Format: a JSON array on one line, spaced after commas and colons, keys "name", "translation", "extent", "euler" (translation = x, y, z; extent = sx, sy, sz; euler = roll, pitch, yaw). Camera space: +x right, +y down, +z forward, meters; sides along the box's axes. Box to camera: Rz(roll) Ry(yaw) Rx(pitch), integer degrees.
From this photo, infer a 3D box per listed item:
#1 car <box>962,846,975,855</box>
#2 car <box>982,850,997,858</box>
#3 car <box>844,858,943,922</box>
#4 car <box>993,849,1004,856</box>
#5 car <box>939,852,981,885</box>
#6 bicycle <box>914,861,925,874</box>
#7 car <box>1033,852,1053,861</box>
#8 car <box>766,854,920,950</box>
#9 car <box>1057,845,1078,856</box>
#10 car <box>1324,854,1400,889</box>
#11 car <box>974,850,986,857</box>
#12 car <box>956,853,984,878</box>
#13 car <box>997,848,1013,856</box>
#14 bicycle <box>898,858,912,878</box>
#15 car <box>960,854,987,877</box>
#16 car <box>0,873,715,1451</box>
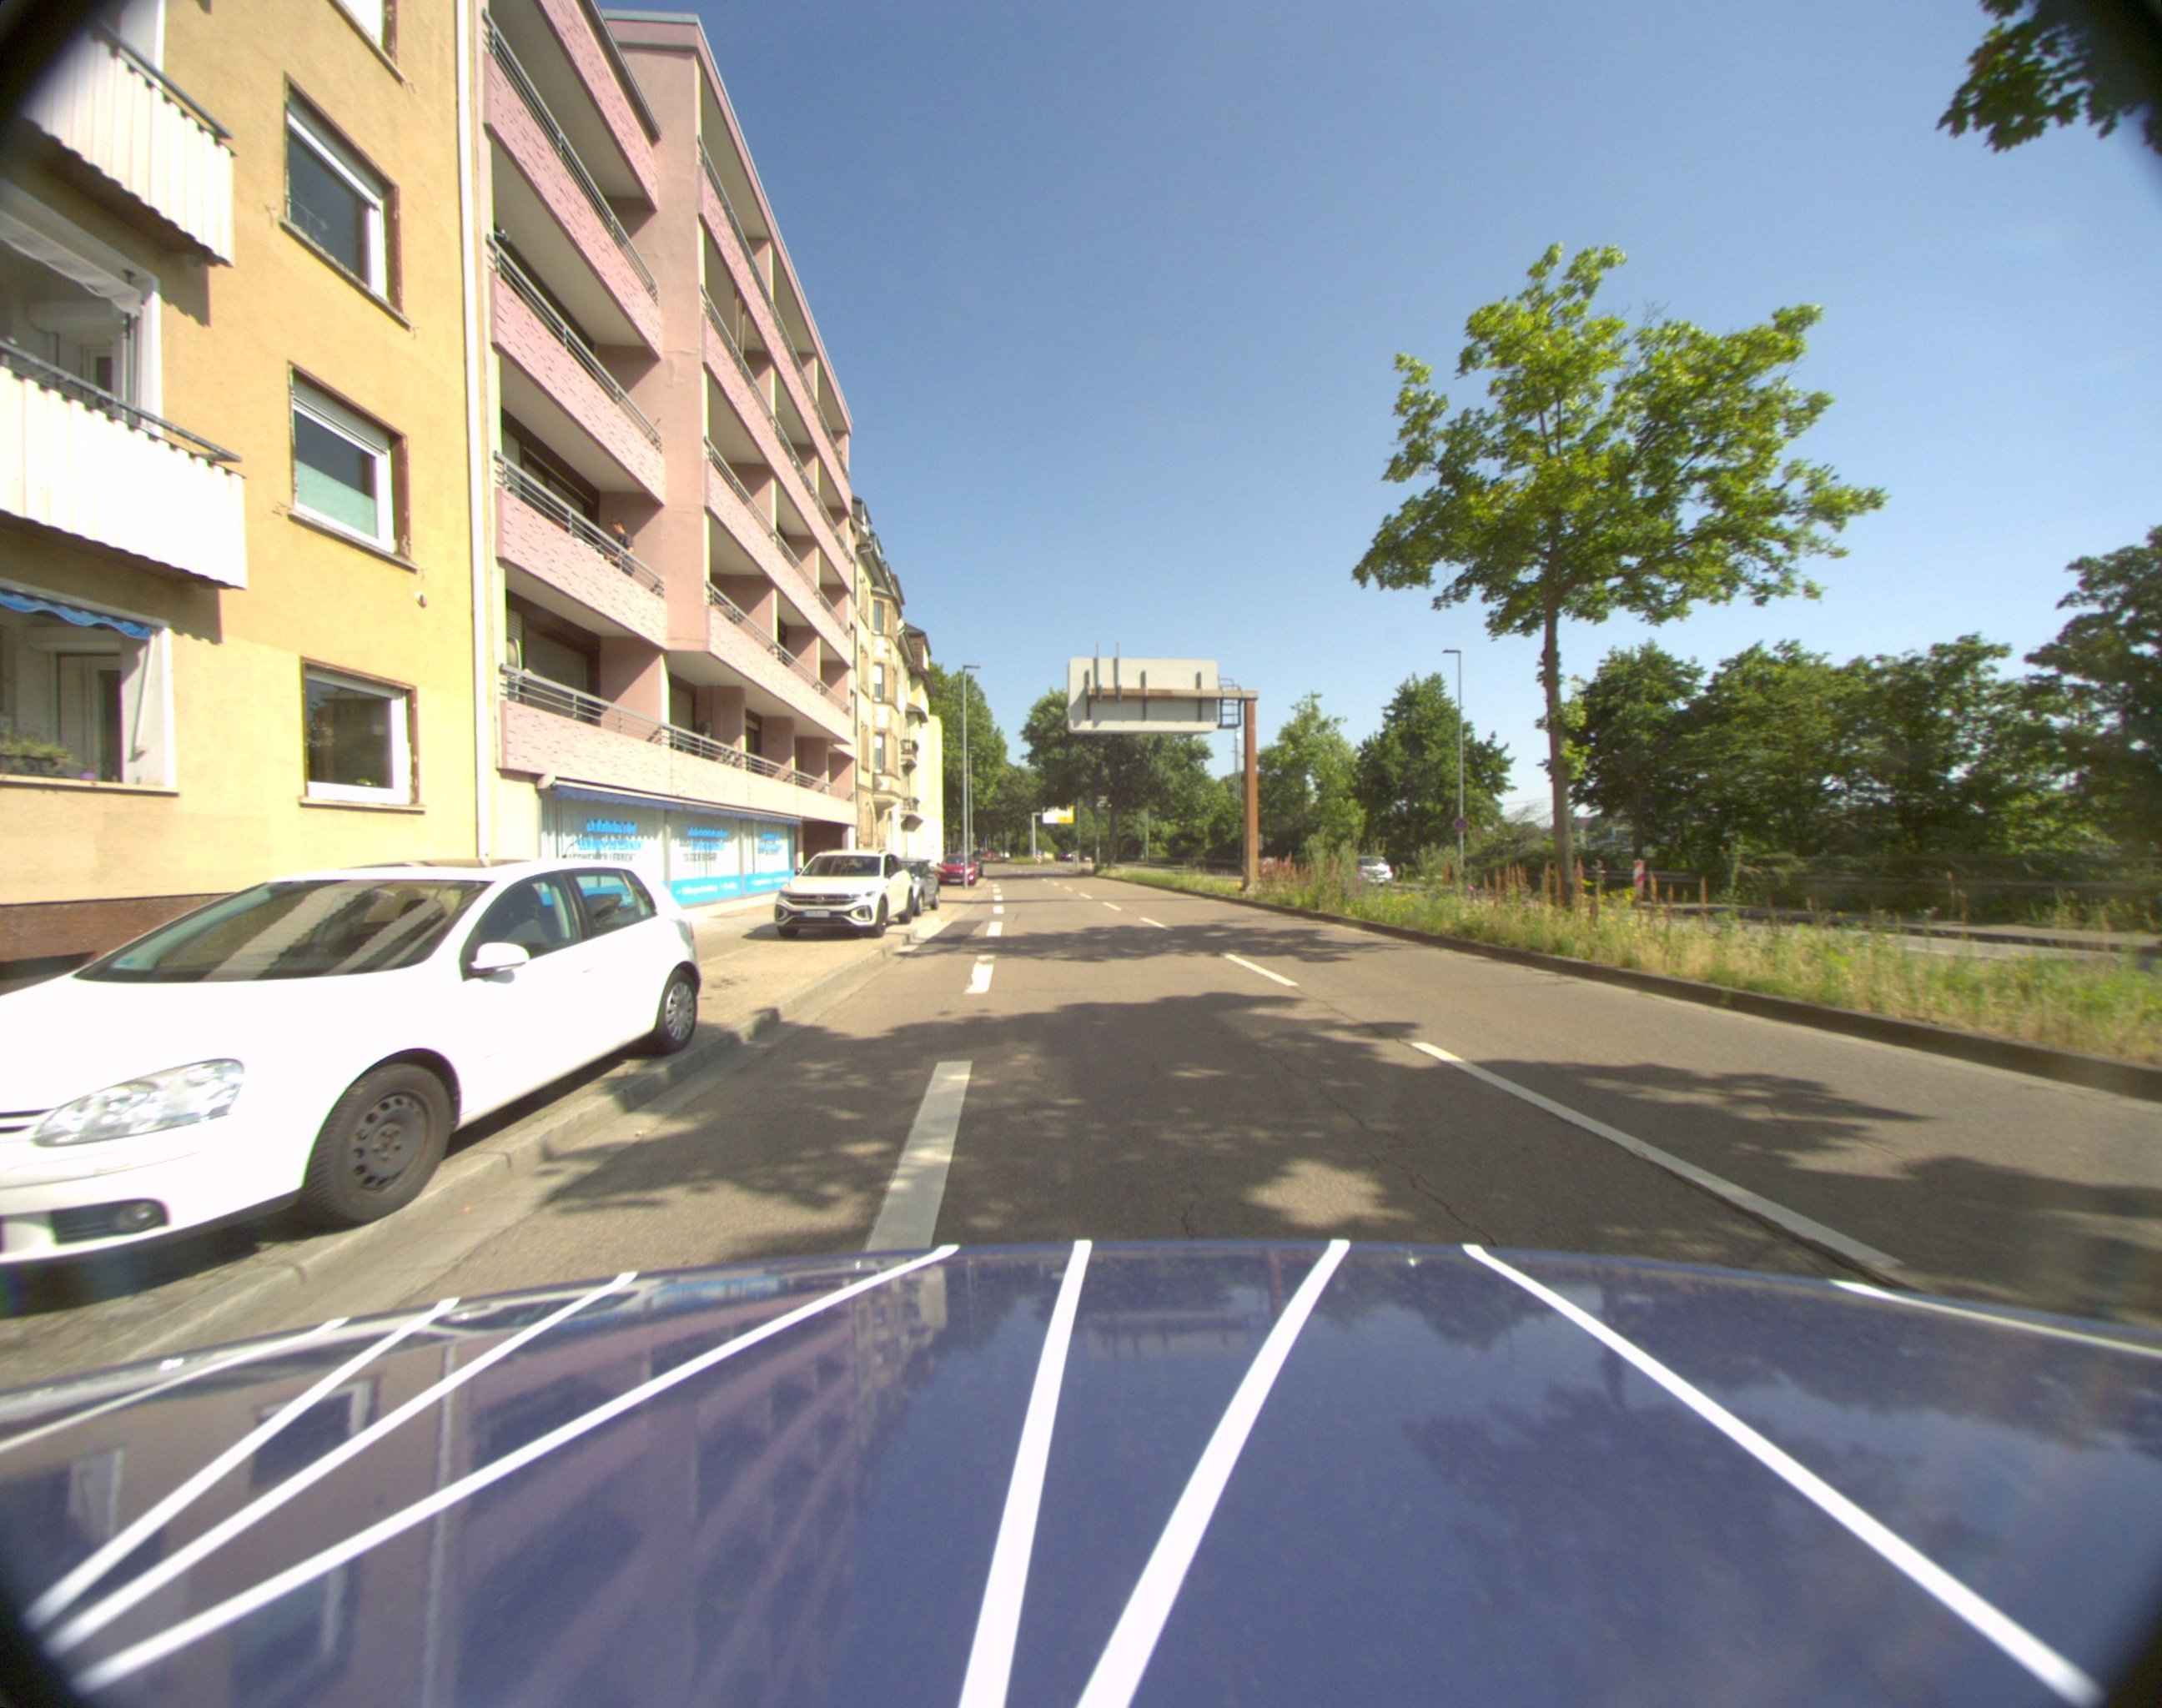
[{"name": "car", "translation": [-24.010, -0.717, 161.719], "extent": [2.002, 1.880, 3.992], "euler": [0, 1, -21]}, {"name": "car", "translation": [-18.180, -0.053, 150.322], "extent": [1.805, 1.511, 3.956], "euler": [1, 1, -24]}, {"name": "car", "translation": [-4.614, 0.844, 19.122], "extent": [1.683, 1.400, 3.430], "euler": [2, 0, -2]}, {"name": "car", "translation": [-17.416, -0.335, 160.677], "extent": [1.682, 1.461, 3.571], "euler": [-1, 0, -17]}, {"name": "car", "translation": [-5.858, 0.676, 37.149], "extent": [1.790, 1.473, 3.997], "euler": [1, 0, -6]}, {"name": "bicycle", "translation": [-11.670, 0.959, 54.856], "extent": [0.609, 0.940, 2.112], "euler": [-1, 0, -8]}, {"name": "car", "translation": [-6.651, 0.421, 132.670], "extent": [2.002, 1.403, 4.606], "euler": [1, 0, -21]}, {"name": "car", "translation": [-4.361, 0.795, 14.620], "extent": [1.741, 1.532, 4.352], "euler": [0, 0, -2]}, {"name": "car", "translation": [-2.102, -0.568, 116.013], "extent": [2.001, 1.519, 4.691], "euler": [2, 0, -15]}, {"name": "car", "translation": [12.346, 0.717, 33.642], "extent": [1.650, 1.408, 3.968], "euler": [-1, 0, -4]}, {"name": "car", "translation": [-22.460, -0.093, 168.319], "extent": [1.925, 1.654, 4.305], "euler": [-1, 1, -18]}, {"name": "car", "translation": [-6.947, 0.699, 47.857], "extent": [1.647, 1.492, 4.007], "euler": [1, 0, -8]}, {"name": "car", "translation": [-14.208, -0.401, 141.325], "extent": [1.872, 1.444, 4.196], "euler": [1, 0, -22]}, {"name": "bicycle", "translation": [-10.380, 0.822, 44.855], "extent": [0.657, 1.139, 1.625], "euler": [2, 0, -9]}, {"name": "car", "translation": [-7.413, 0.769, 52.415], "extent": [1.746, 1.408, 4.077], "euler": [1, 0, -8]}, {"name": "car", "translation": [-3.802, 0.908, 4.136], "extent": [1.761, 1.497, 4.126], "euler": [0, 0, -2]}]
